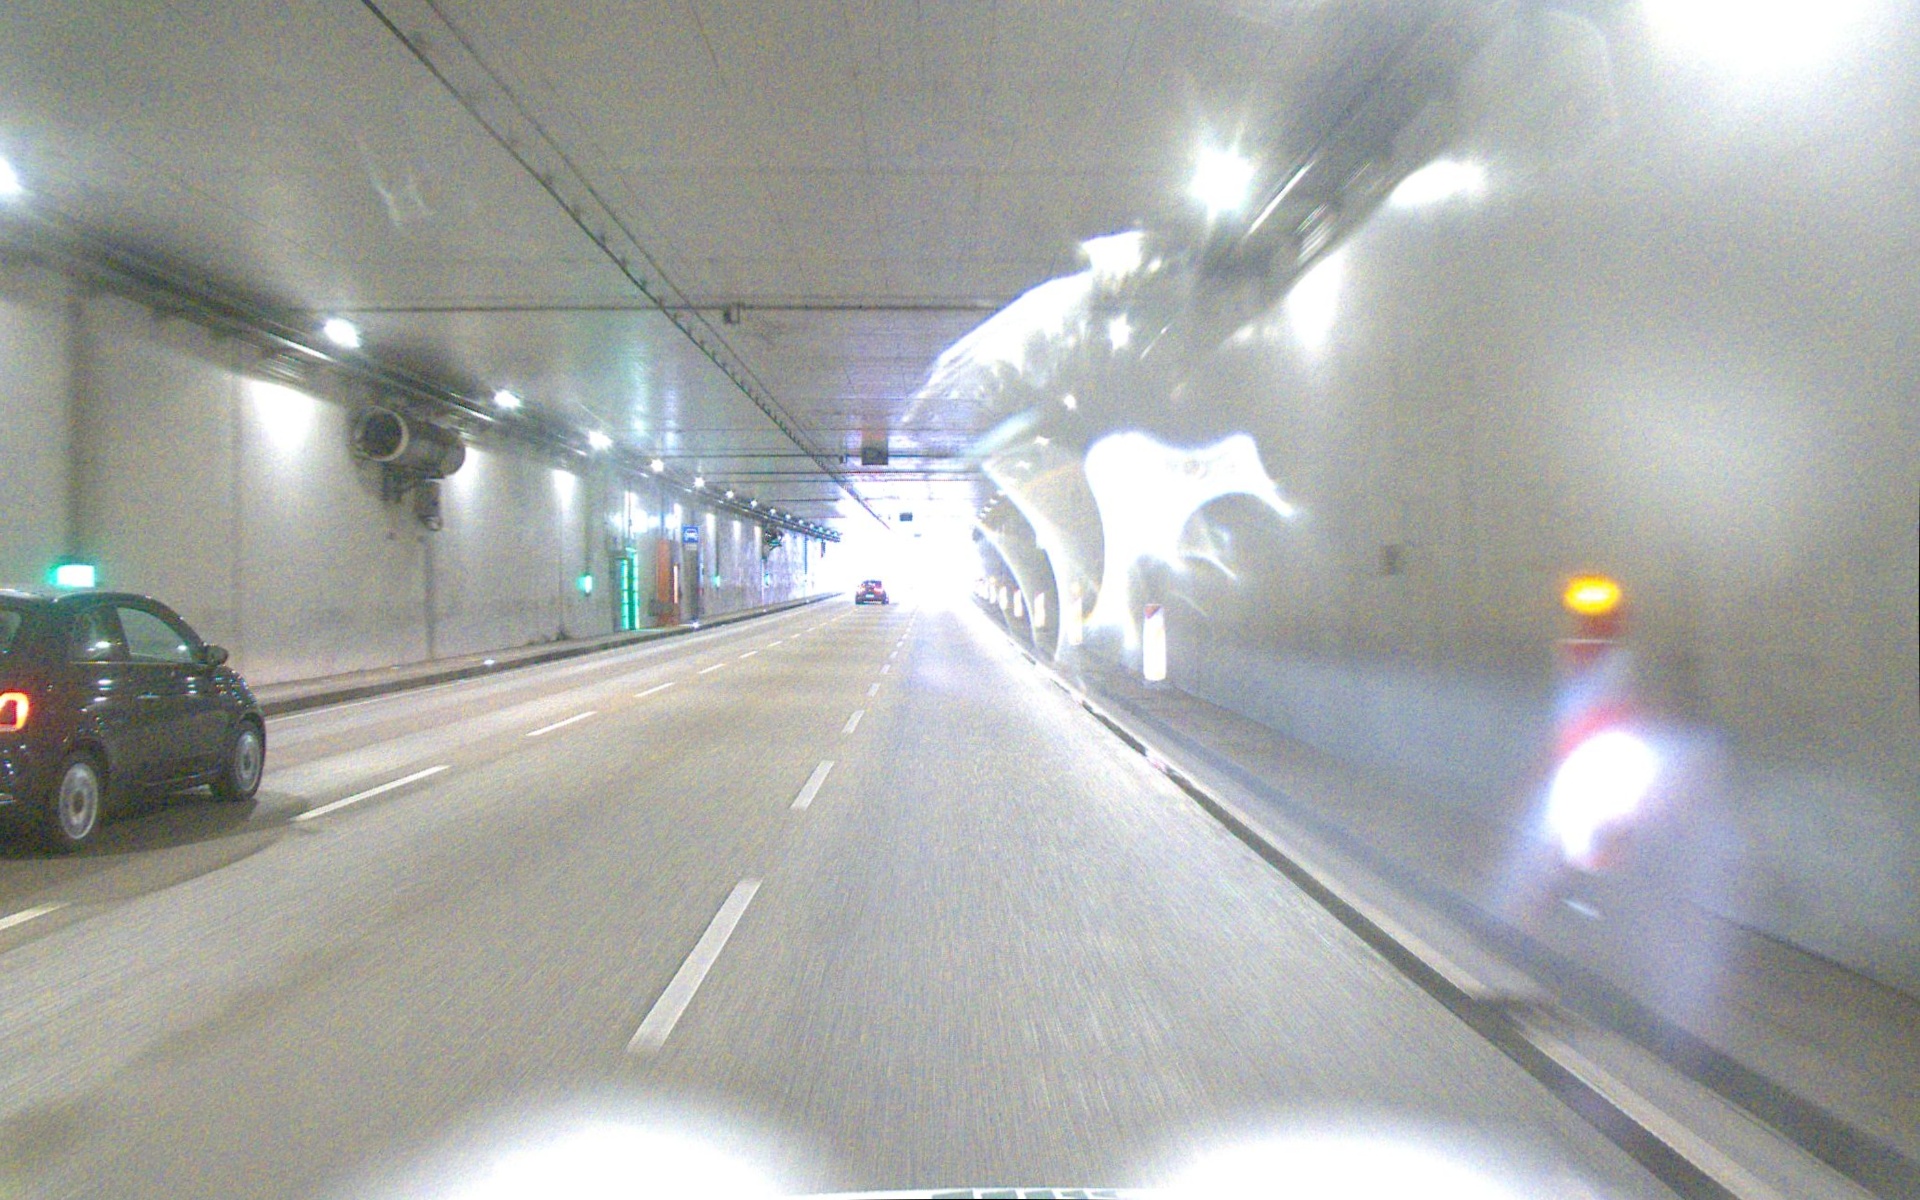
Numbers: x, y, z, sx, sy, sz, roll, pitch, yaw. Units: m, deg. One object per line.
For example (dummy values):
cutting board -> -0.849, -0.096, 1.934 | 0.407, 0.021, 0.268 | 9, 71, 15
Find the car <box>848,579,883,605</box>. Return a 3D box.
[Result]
car -> -5.758, -0.463, 100.079 | 1.954, 1.473, 4.310 | 2, 0, -5

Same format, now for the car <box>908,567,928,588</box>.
car -> -4.250, -2.297, 168.894 | 1.953, 2.049, 3.999 | 1, 0, -1

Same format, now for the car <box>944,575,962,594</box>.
car -> -0.806, -1.696, 183.796 | 1.953, 2.049, 3.999 | 1, 0, -1

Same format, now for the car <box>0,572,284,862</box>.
car -> -5.649, 0.573, 10.220 | 1.580, 1.480, 3.571 | 1, 0, -3
